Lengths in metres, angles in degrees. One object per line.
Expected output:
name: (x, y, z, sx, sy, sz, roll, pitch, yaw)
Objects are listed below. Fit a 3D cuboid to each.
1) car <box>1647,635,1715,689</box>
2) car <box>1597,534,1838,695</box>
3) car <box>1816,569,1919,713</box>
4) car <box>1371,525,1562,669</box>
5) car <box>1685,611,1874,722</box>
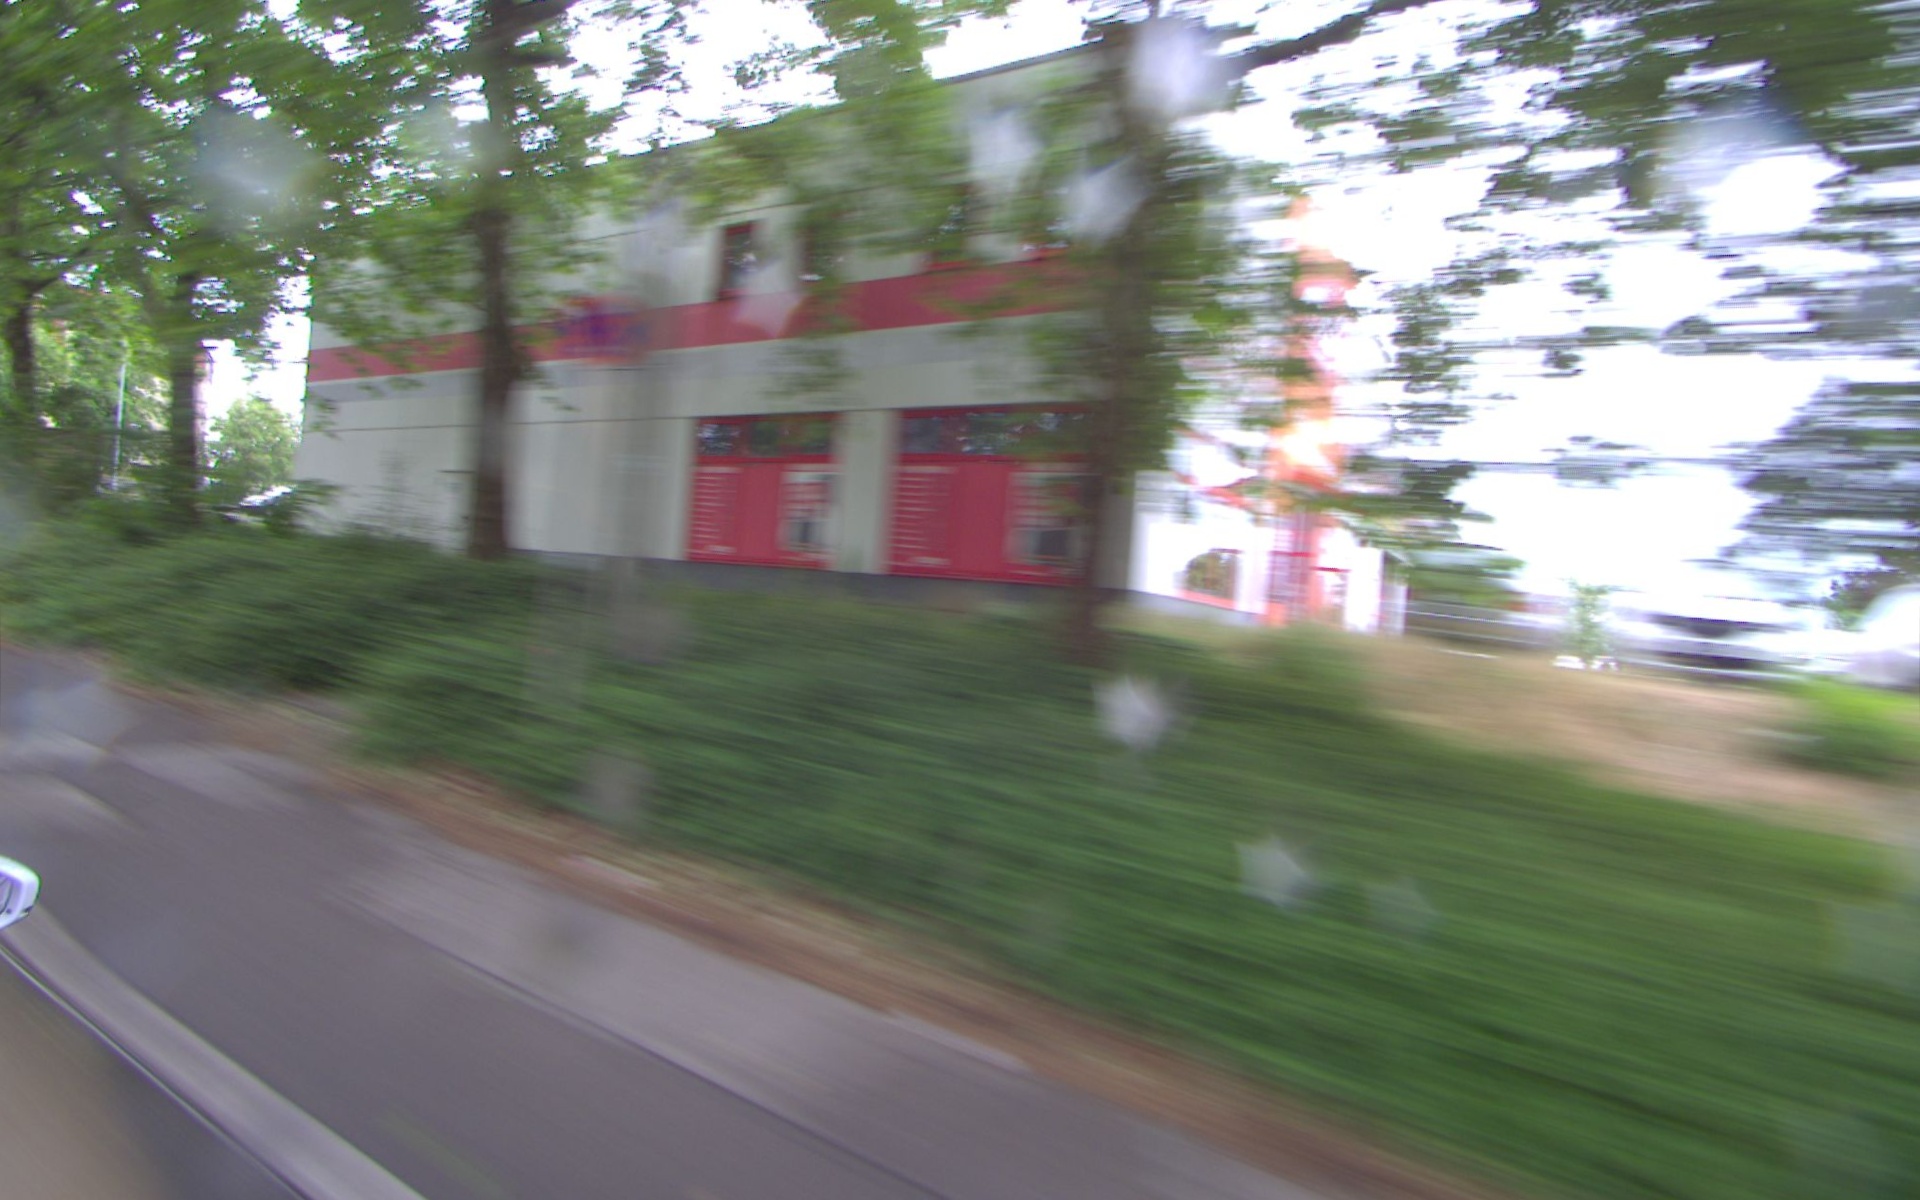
car: (25.495, 2.211, 35.529, 1.534, 1.551, 3.361, 4, -4, 41)
car: (8.853, 0.251, 12.117, 1.854, 1.485, 4.104, 7, 0, 33)
car: (11.091, 0.585, 11.044, 1.802, 1.308, 3.926, 6, -2, 31)
car: (6.776, 0.063, 13.177, 1.771, 1.350, 4.617, 7, -1, 31)
car: (16.438, 1.339, 20.485, 1.882, 1.805, 4.778, 7, 0, 28)
